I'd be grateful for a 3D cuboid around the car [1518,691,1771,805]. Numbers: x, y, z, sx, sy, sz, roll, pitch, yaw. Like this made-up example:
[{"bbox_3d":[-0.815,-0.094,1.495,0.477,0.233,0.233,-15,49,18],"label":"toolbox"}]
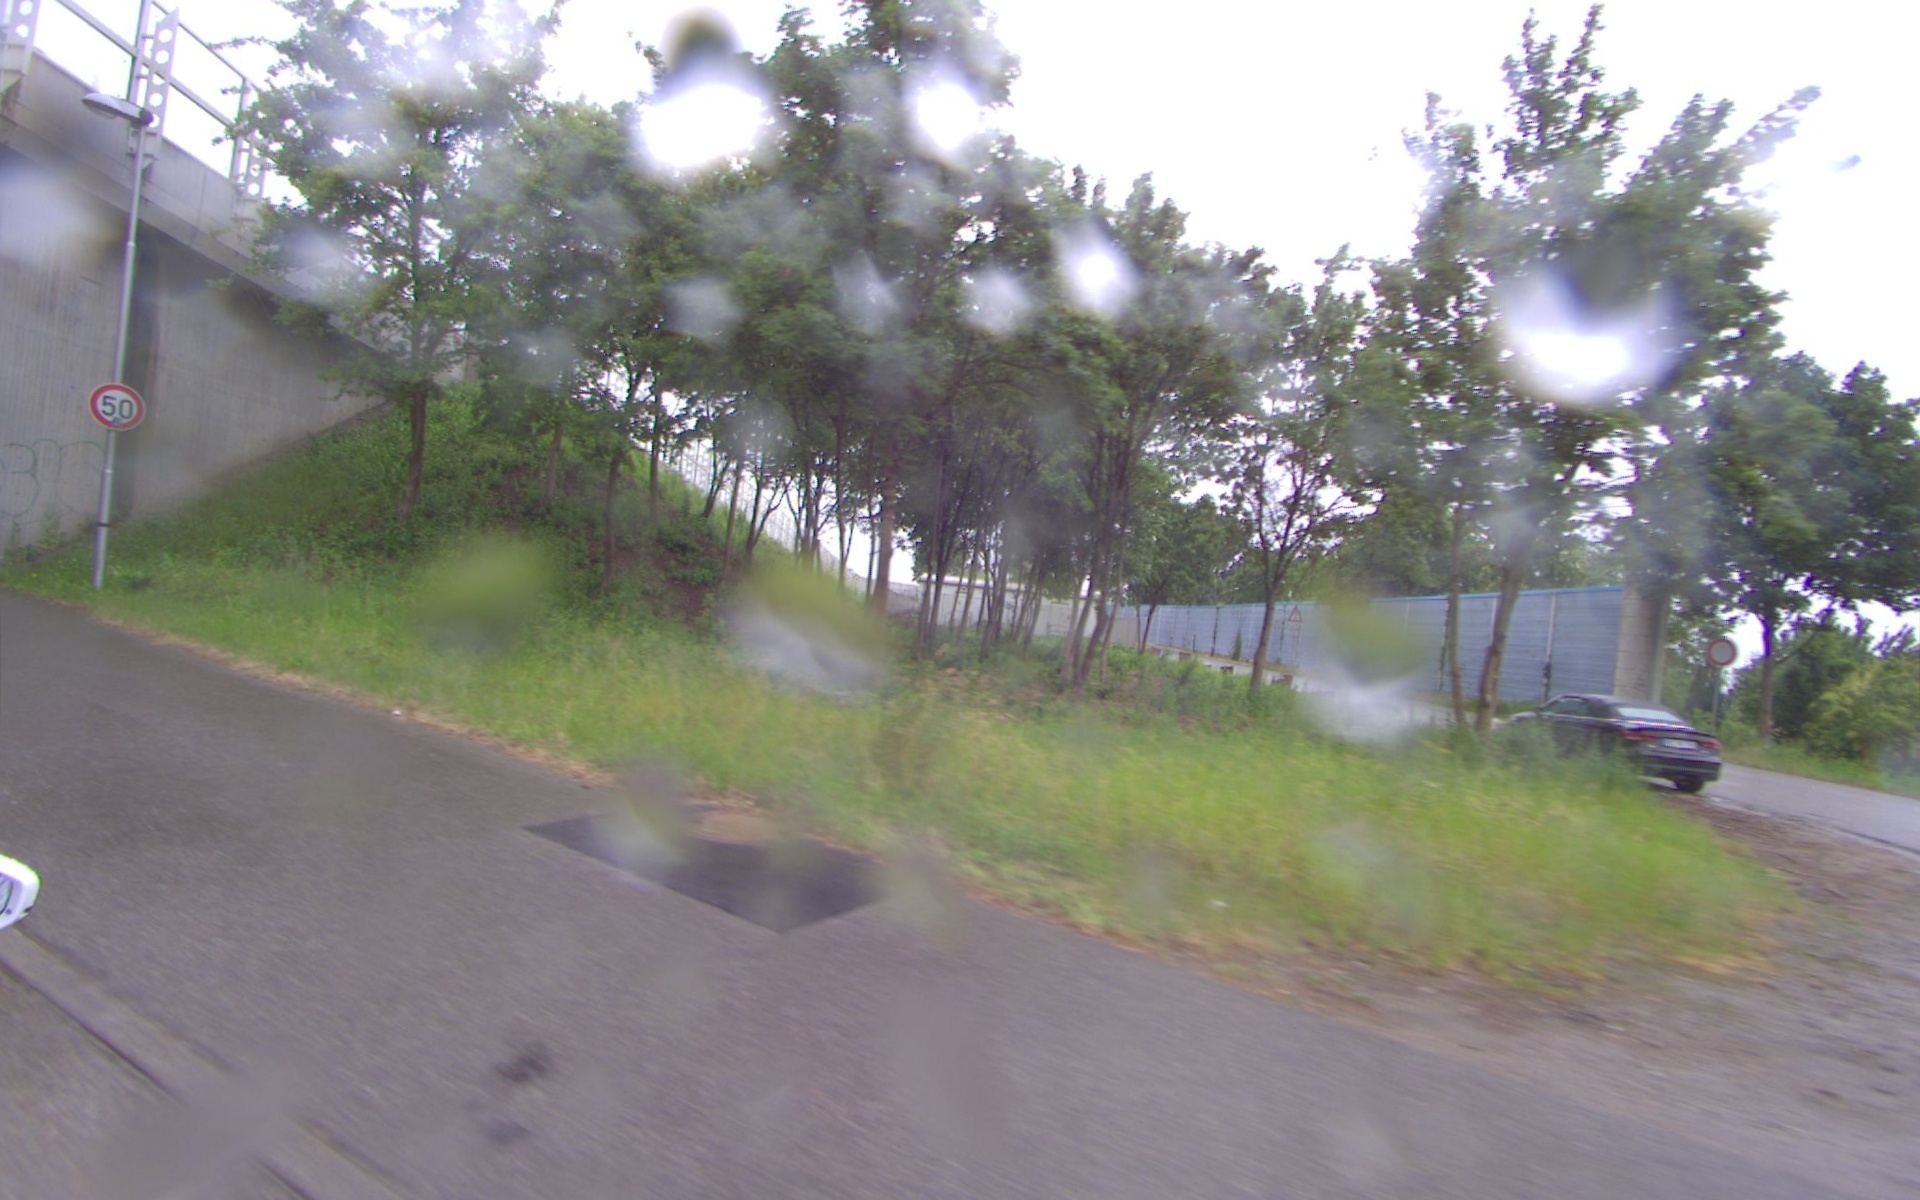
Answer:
[{"bbox_3d":[11.604,2.447,17.459,1.869,1.374,4.118,7,-3,8],"label":"car"}]
